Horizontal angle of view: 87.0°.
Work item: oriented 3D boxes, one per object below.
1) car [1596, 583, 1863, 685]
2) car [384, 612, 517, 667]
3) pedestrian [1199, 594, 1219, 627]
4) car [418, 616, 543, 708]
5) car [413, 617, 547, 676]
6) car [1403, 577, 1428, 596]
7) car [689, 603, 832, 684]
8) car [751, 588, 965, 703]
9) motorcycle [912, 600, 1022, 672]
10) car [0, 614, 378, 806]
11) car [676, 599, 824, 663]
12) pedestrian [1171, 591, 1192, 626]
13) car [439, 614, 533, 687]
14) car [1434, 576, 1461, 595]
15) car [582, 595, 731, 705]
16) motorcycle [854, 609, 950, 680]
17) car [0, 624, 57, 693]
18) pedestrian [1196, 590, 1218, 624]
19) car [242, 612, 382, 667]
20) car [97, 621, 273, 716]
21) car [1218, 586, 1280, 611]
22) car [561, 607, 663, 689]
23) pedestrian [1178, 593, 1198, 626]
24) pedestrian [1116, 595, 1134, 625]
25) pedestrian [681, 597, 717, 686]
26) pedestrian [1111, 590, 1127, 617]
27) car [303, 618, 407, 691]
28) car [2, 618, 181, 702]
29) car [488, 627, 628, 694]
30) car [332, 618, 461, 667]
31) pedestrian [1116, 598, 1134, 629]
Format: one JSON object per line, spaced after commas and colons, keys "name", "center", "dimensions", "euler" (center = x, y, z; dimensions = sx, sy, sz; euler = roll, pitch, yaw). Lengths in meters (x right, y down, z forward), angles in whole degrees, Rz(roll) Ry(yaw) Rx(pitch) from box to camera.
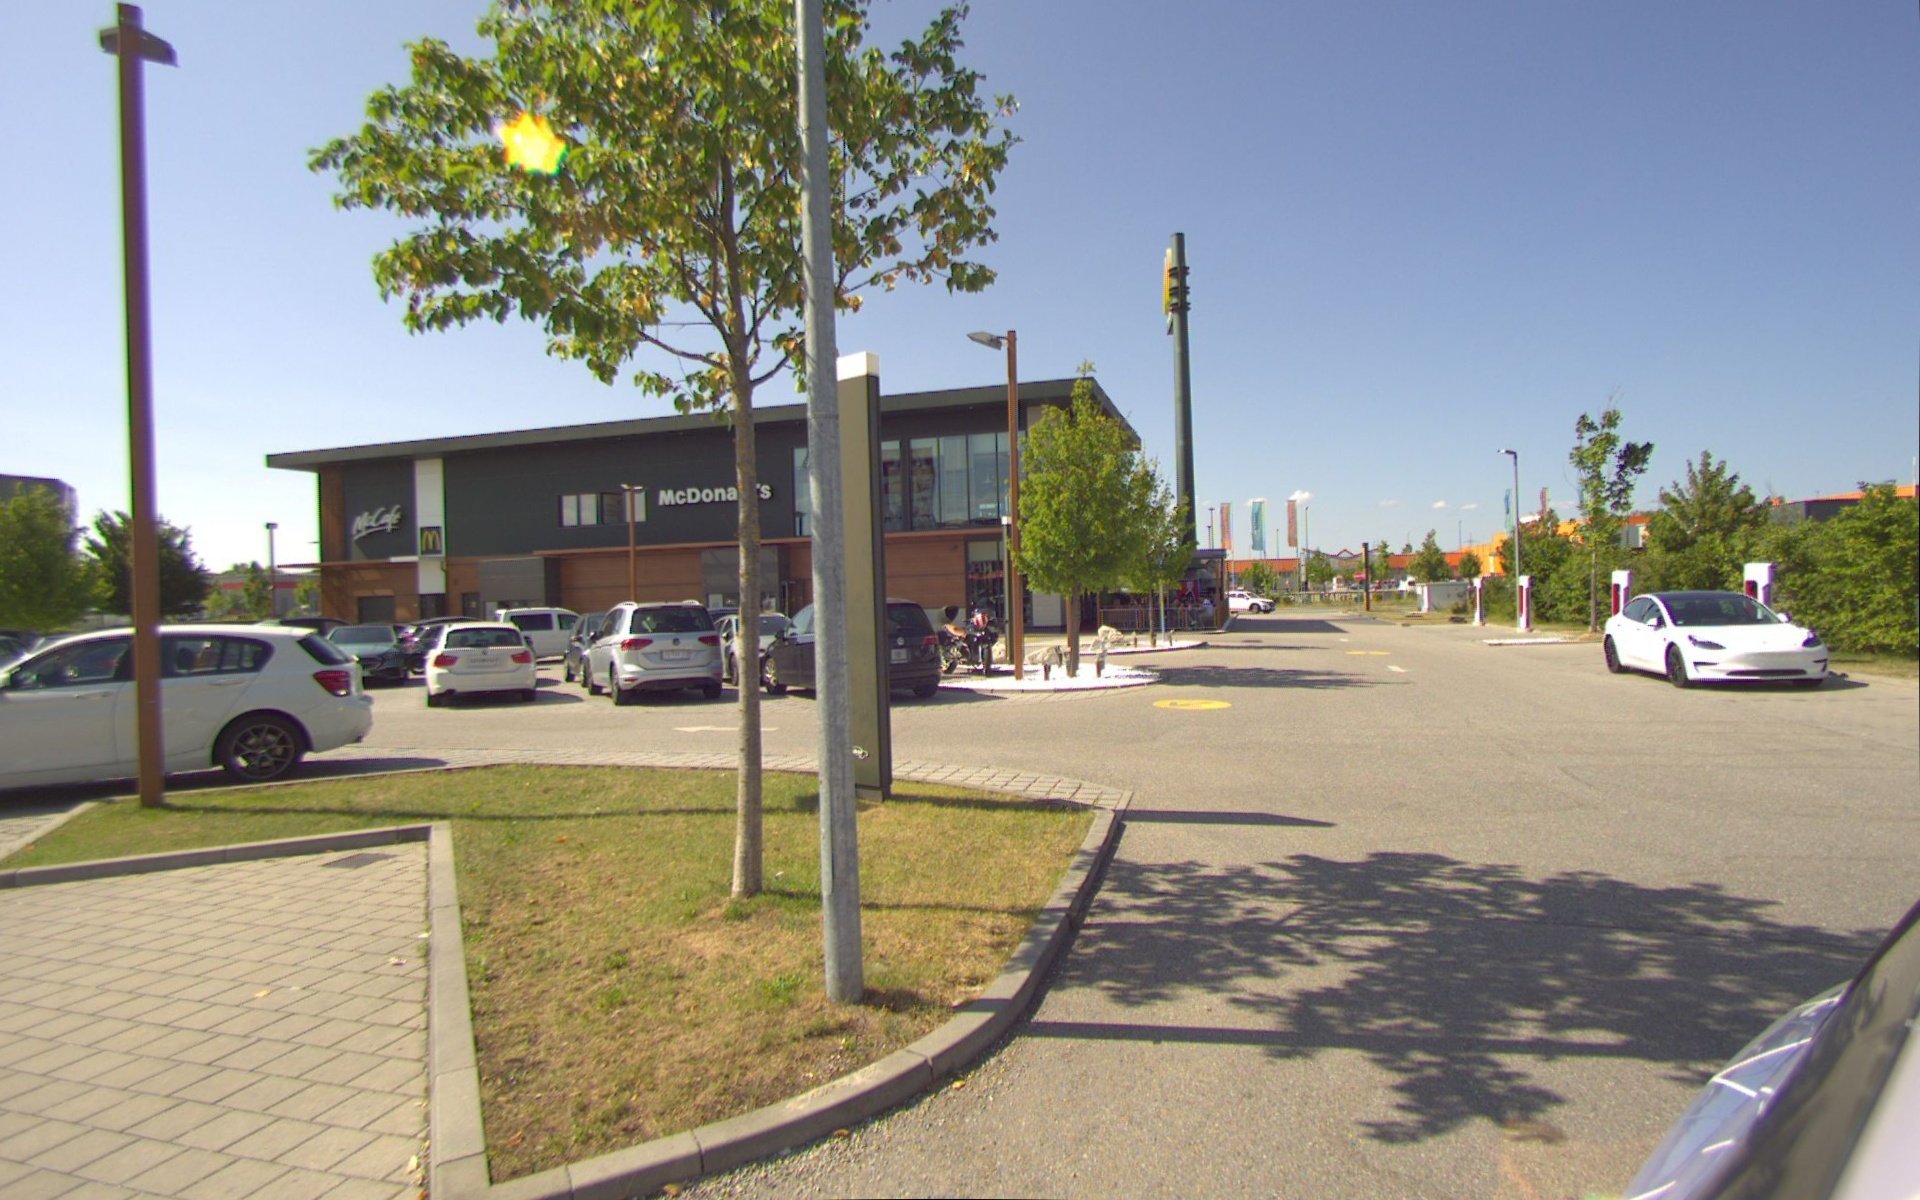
{"name": "car", "center": [12.175, 0.473, 16.425], "dimensions": [1.796, 1.395, 4.429], "euler": [-2, 0, 14]}
{"name": "car", "center": [-17.432, 1.314, 34.704], "dimensions": [3.777, 1.652, 1.756], "euler": [-2, 0, -40]}
{"name": "pedestrian", "center": [9.806, 0.417, 39.846], "dimensions": [0.718, 1.274, 0.571], "euler": [-2, -1, 12]}
{"name": "car", "center": [-8.851, 1.055, 18.489], "dimensions": [1.758, 1.426, 4.085], "euler": [-2, -1, -29]}
{"name": "car", "center": [-14.131, 1.333, 29.816], "dimensions": [3.349, 1.501, 1.568], "euler": [-2, 0, -33]}
{"name": "car", "center": [50.573, -1.526, 112.474], "dimensions": [1.972, 2.039, 3.979], "euler": [-1, 0, 16]}
{"name": "car", "center": [-4.375, 0.901, 21.570], "dimensions": [1.798, 1.465, 4.668], "euler": [-2, -1, -26]}
{"name": "car", "center": [-1.797, 0.659, 16.367], "dimensions": [1.858, 1.556, 4.194], "euler": [-2, 0, -30]}
{"name": "motorcycle", "center": [0.099, 0.715, 19.817], "dimensions": [1.050, 1.266, 2.253], "euler": [-3, -1, -31]}
{"name": "car", "center": [-7.667, 0.924, 9.168], "dimensions": [4.103, 1.444, 1.846], "euler": [-2, 0, -30]}
{"name": "car", "center": [-6.601, 0.918, 31.867], "dimensions": [4.145, 1.622, 1.793], "euler": [-4, 3, -30]}
{"name": "pedestrian", "center": [8.361, 0.328, 38.243], "dimensions": [0.705, 1.274, 0.522], "euler": [-2, -1, 13]}
{"name": "car", "center": [-11.053, 1.103, 23.615], "dimensions": [1.791, 1.467, 4.082], "euler": [-2, 0, -25]}
{"name": "car", "center": [53.858, -1.593, 111.870], "dimensions": [1.972, 2.039, 3.979], "euler": [-1, 0, 16]}
{"name": "car", "center": [-5.435, 0.812, 17.786], "dimensions": [1.713, 1.661, 4.071], "euler": [-2, -1, -28]}
{"name": "motorcycle", "center": [-1.158, 0.852, 19.571], "dimensions": [0.805, 1.247, 2.140], "euler": [-2, -1, -35]}
{"name": "car", "center": [-21.462, 1.273, 22.021], "dimensions": [1.671, 1.444, 3.909], "euler": [-2, 0, -26]}
{"name": "pedestrian", "center": [9.361, 0.266, 38.368], "dimensions": [0.718, 1.274, 0.571], "euler": [-2, -1, 12]}
{"name": "car", "center": [-23.642, 1.408, 37.021], "dimensions": [1.666, 1.727, 3.984], "euler": [-1, 1, 38]}
{"name": "car", "center": [-15.004, 1.226, 19.857], "dimensions": [1.943, 1.530, 4.422], "euler": [-2, 0, -27]}
{"name": "car", "center": [20.875, -0.075, 73.256], "dimensions": [1.779, 1.683, 3.992], "euler": [-1, 0, -41]}
{"name": "car", "center": [-7.912, 0.998, 22.789], "dimensions": [1.774, 1.613, 4.006], "euler": [-2, 0, -24]}
{"name": "pedestrian", "center": [9.018, 0.357, 40.083], "dimensions": [0.705, 1.274, 0.522], "euler": [-2, -1, 13]}
{"name": "pedestrian", "center": [6.434, 0.368, 39.381], "dimensions": [0.625, 1.138, 0.522], "euler": [-2, -1, 13]}
{"name": "pedestrian", "center": [-5.256, 0.822, 20.338], "dimensions": [0.598, 1.735, 0.564], "euler": [-2, -1, -20]}
{"name": "pedestrian", "center": [6.669, 0.149, 42.410], "dimensions": [0.565, 1.114, 0.653], "euler": [-2, -1, 15]}
{"name": "car", "center": [-14.659, 1.248, 24.743], "dimensions": [1.849, 1.530, 4.548], "euler": [-2, 0, -27]}
{"name": "car", "center": [-18.673, 1.207, 22.008], "dimensions": [1.943, 1.530, 4.422], "euler": [-2, 0, -27]}
{"name": "car", "center": [-13.417, 1.957, 33.853], "dimensions": [4.066, 1.946, 1.758], "euler": [-2, 0, -34]}
{"name": "car", "center": [-20.094, 1.475, 36.165], "dimensions": [1.670, 1.462, 3.713], "euler": [-2, 1, 45]}
{"name": "pedestrian", "center": [6.302, 0.505, 38.710], "dimensions": [0.625, 1.138, 0.522], "euler": [-2, -1, 13]}
